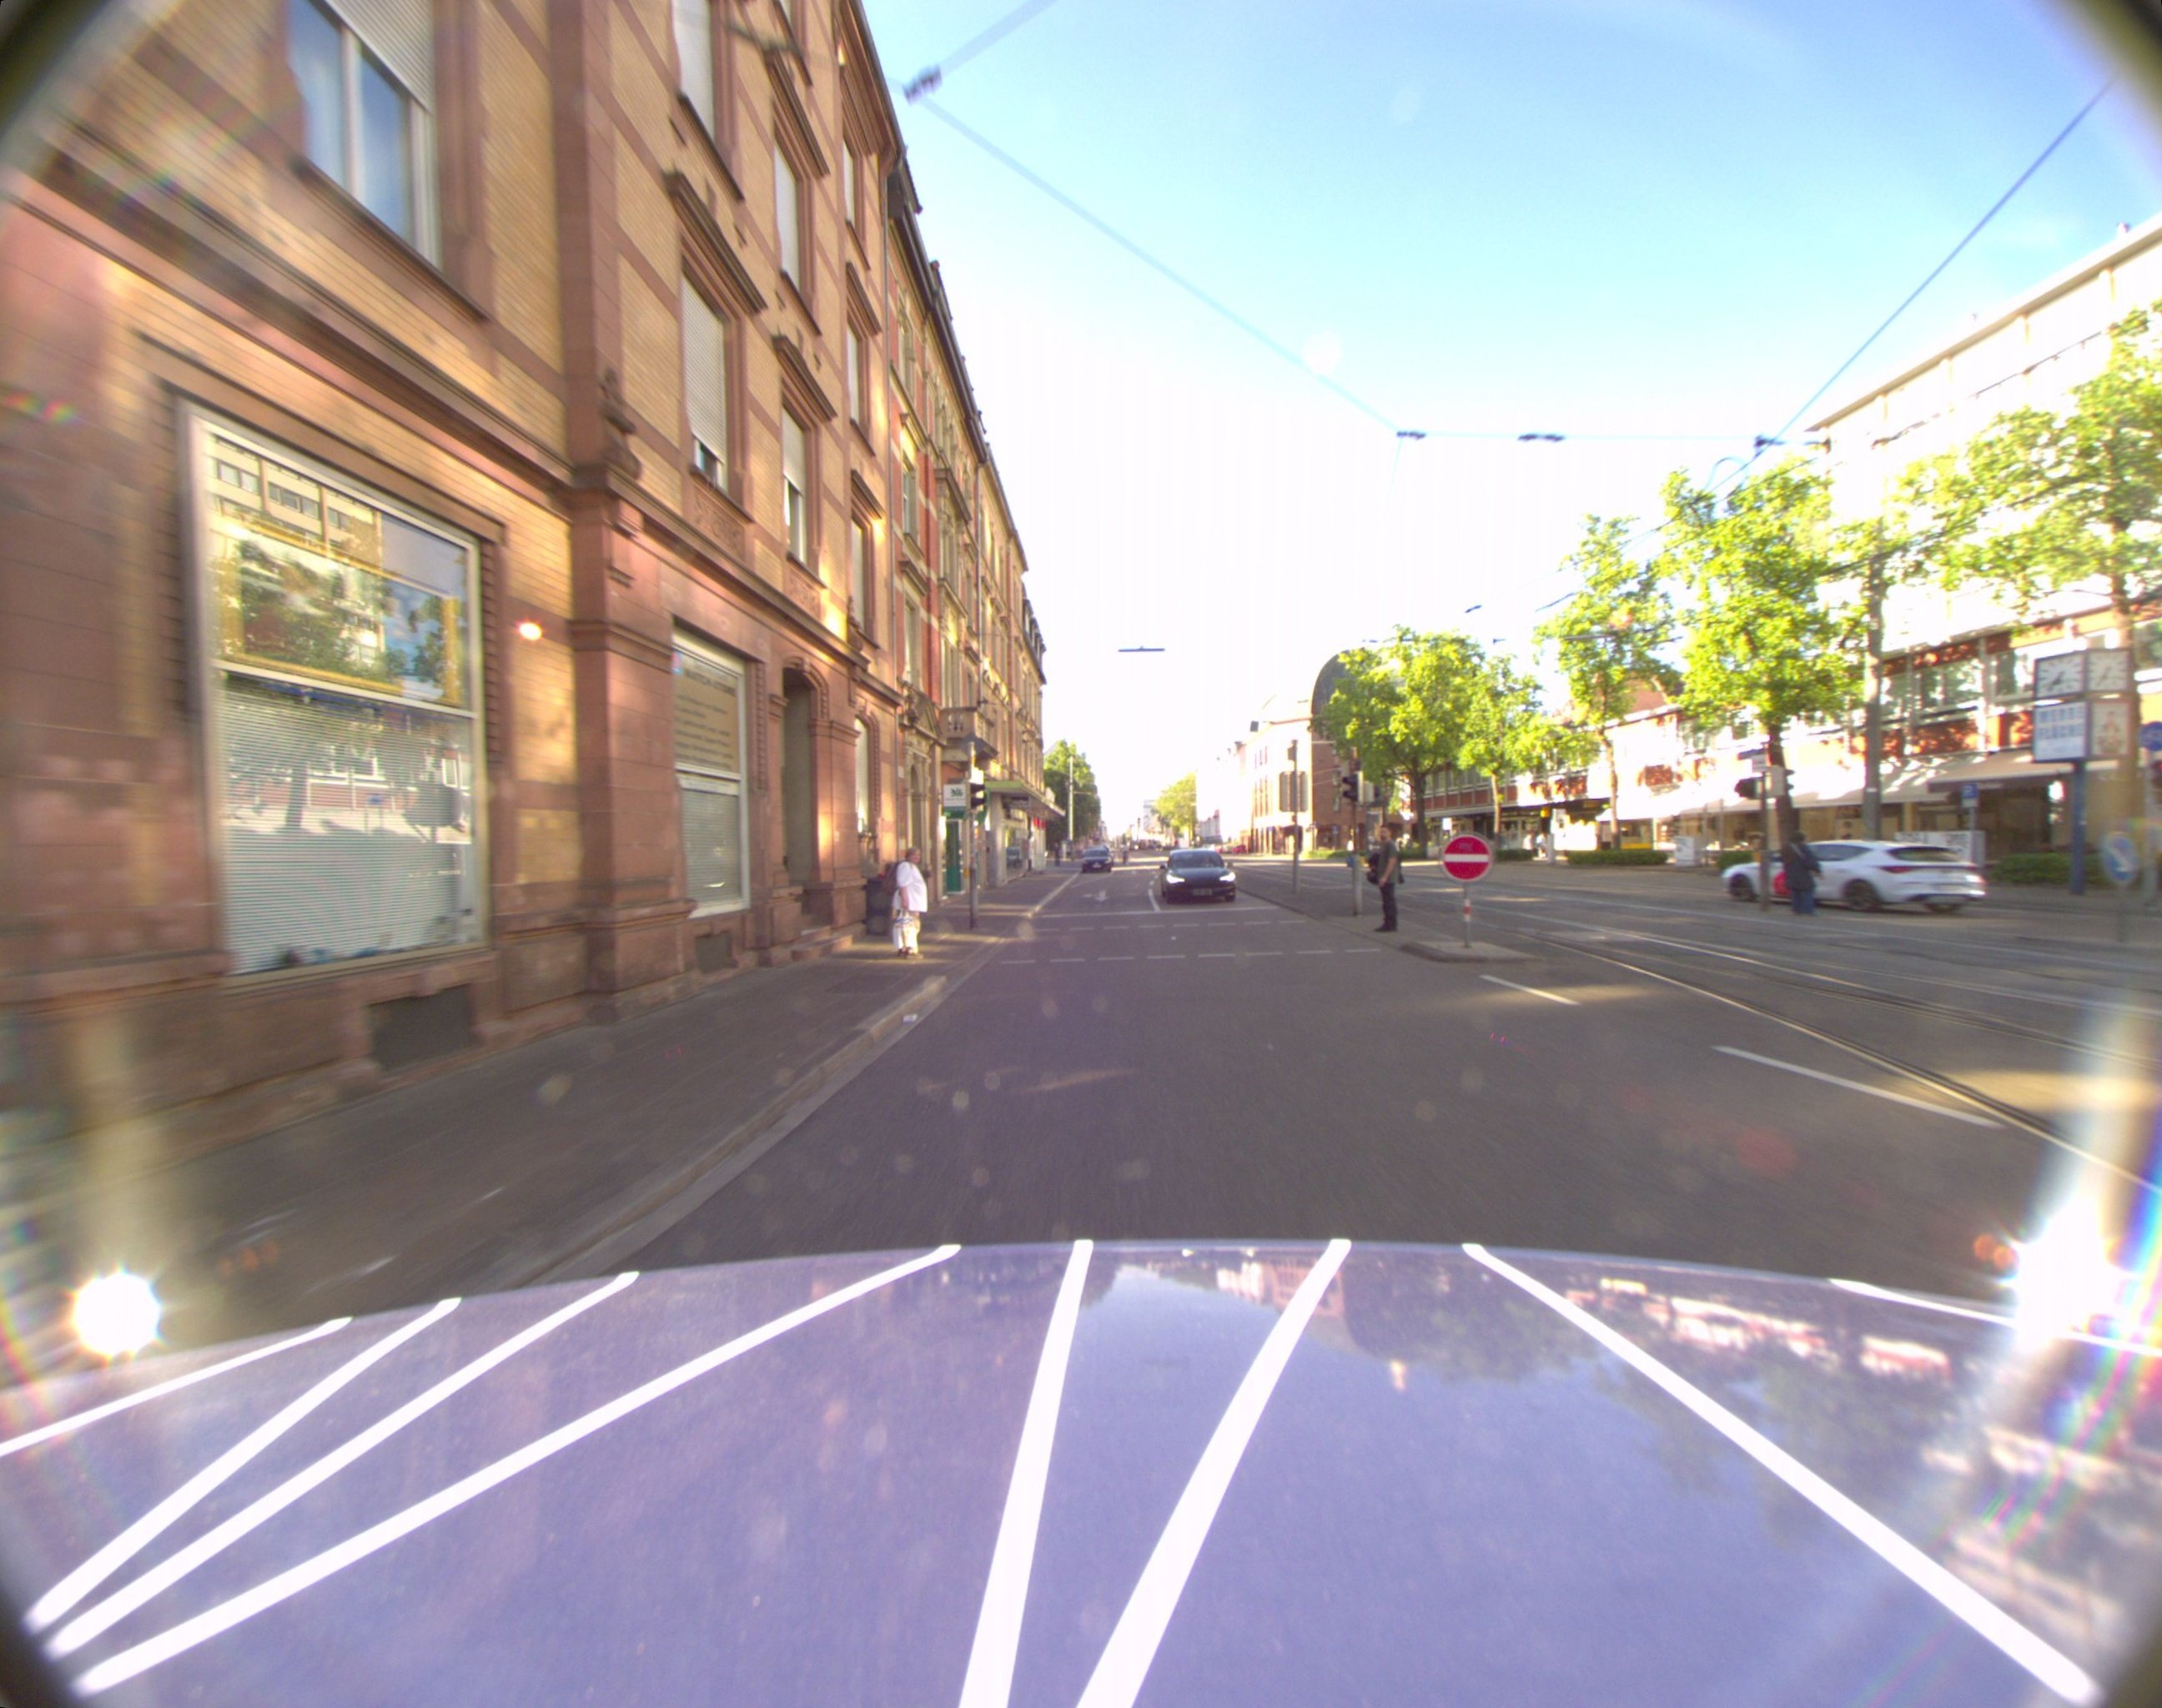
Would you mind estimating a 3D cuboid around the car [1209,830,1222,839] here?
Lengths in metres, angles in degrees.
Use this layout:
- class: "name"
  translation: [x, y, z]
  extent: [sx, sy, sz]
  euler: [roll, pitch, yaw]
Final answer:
- class: "car"
  translation: [24.362, -3.506, 137.683]
  extent: [1.855, 1.445, 3.853]
  euler: [-1, 1, 3]

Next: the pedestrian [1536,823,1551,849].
- class: "pedestrian"
  translation: [30.899, -1.220, 50.804]
  extent: [0.573, 1.740, 0.706]
  euler: [0, 2, 4]

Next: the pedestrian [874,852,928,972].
- class: "pedestrian"
  translation: [-2.522, 0.785, 10.660]
  extent: [0.683, 1.598, 0.730]
  euler: [-1, 2, -14]

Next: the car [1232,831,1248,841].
- class: "car"
  translation: [23.333, -2.671, 111.574]
  extent: [1.753, 1.445, 3.471]
  euler: [-1, 1, 1]

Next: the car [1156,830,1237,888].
- class: "car"
  translation: [3.190, 0.078, 21.691]
  extent: [1.815, 1.416, 4.153]
  euler: [-2, 1, 2]

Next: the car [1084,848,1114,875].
- class: "car"
  translation: [1.167, 0.427, 47.268]
  extent: [1.694, 1.442, 4.359]
  euler: [-2, 1, 2]

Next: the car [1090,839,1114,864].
- class: "car"
  translation: [1.639, -0.219, 58.837]
  extent: [1.694, 1.704, 4.614]
  euler: [-2, 2, 2]

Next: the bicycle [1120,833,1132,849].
- class: "bicycle"
  translation: [3.583, -1.065, 60.398]
  extent: [0.889, 1.155, 2.078]
  euler: [-2, 2, 3]

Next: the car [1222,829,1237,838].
- class: "car"
  translation: [23.708, -3.262, 121.415]
  extent: [1.855, 1.445, 3.853]
  euler: [-1, 1, 3]

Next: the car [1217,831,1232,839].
- class: "car"
  translation: [23.865, -3.143, 126.349]
  extent: [1.855, 1.346, 3.853]
  euler: [-1, 1, 3]

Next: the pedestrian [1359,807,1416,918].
- class: "pedestrian"
  translation: [5.035, 0.133, 12.512]
  extent: [0.559, 1.754, 0.895]
  euler: [1, 2, 3]

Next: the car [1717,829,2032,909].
- class: "car"
  translation: [16.343, 0.238, 16.106]
  extent: [1.998, 1.443, 4.501]
  euler: [-1, 1, 1]

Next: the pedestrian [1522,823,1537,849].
- class: "pedestrian"
  translation: [30.007, -1.210, 50.841]
  extent: [0.573, 1.762, 0.706]
  euler: [0, 2, 4]

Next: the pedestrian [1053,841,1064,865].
- class: "pedestrian"
  translation: [-1.794, -0.089, 60.680]
  extent: [0.685, 1.901, 1.063]
  euler: [-2, 3, 6]

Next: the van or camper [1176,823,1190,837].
- class: "van or camper"
  translation: [20.338, -4.825, 151.421]
  extent: [2.041, 2.723, 7.020]
  euler: [0, 1, 2]

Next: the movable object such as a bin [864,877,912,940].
- class: "movable object such as a bin"
  translation: [-3.536, 0.984, 13.930]
  extent: [0.664, 1.066, 0.591]
  euler: [2, 2, 5]

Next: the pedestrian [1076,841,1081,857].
- class: "pedestrian"
  translation: [-0.296, -0.607, 91.480]
  extent: [0.507, 2.003, 0.574]
  euler: [-2, 3, 3]

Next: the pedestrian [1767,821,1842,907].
- class: "pedestrian"
  translation: [13.197, 0.166, 13.889]
  extent: [0.501, 1.509, 0.859]
  euler: [1, 2, 3]

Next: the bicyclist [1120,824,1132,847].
- class: "bicyclist"
  translation: [3.547, -1.493, 60.273]
  extent: [0.895, 1.756, 1.030]
  euler: [-2, 3, 3]

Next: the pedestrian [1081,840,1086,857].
- class: "pedestrian"
  translation: [0.331, -0.710, 91.424]
  extent: [0.507, 2.003, 0.574]
  euler: [-2, 3, 3]

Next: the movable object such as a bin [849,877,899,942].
- class: "movable object such as a bin"
  translation: [-3.631, 0.969, 13.353]
  extent: [0.664, 1.066, 0.545]
  euler: [2, 2, 5]
